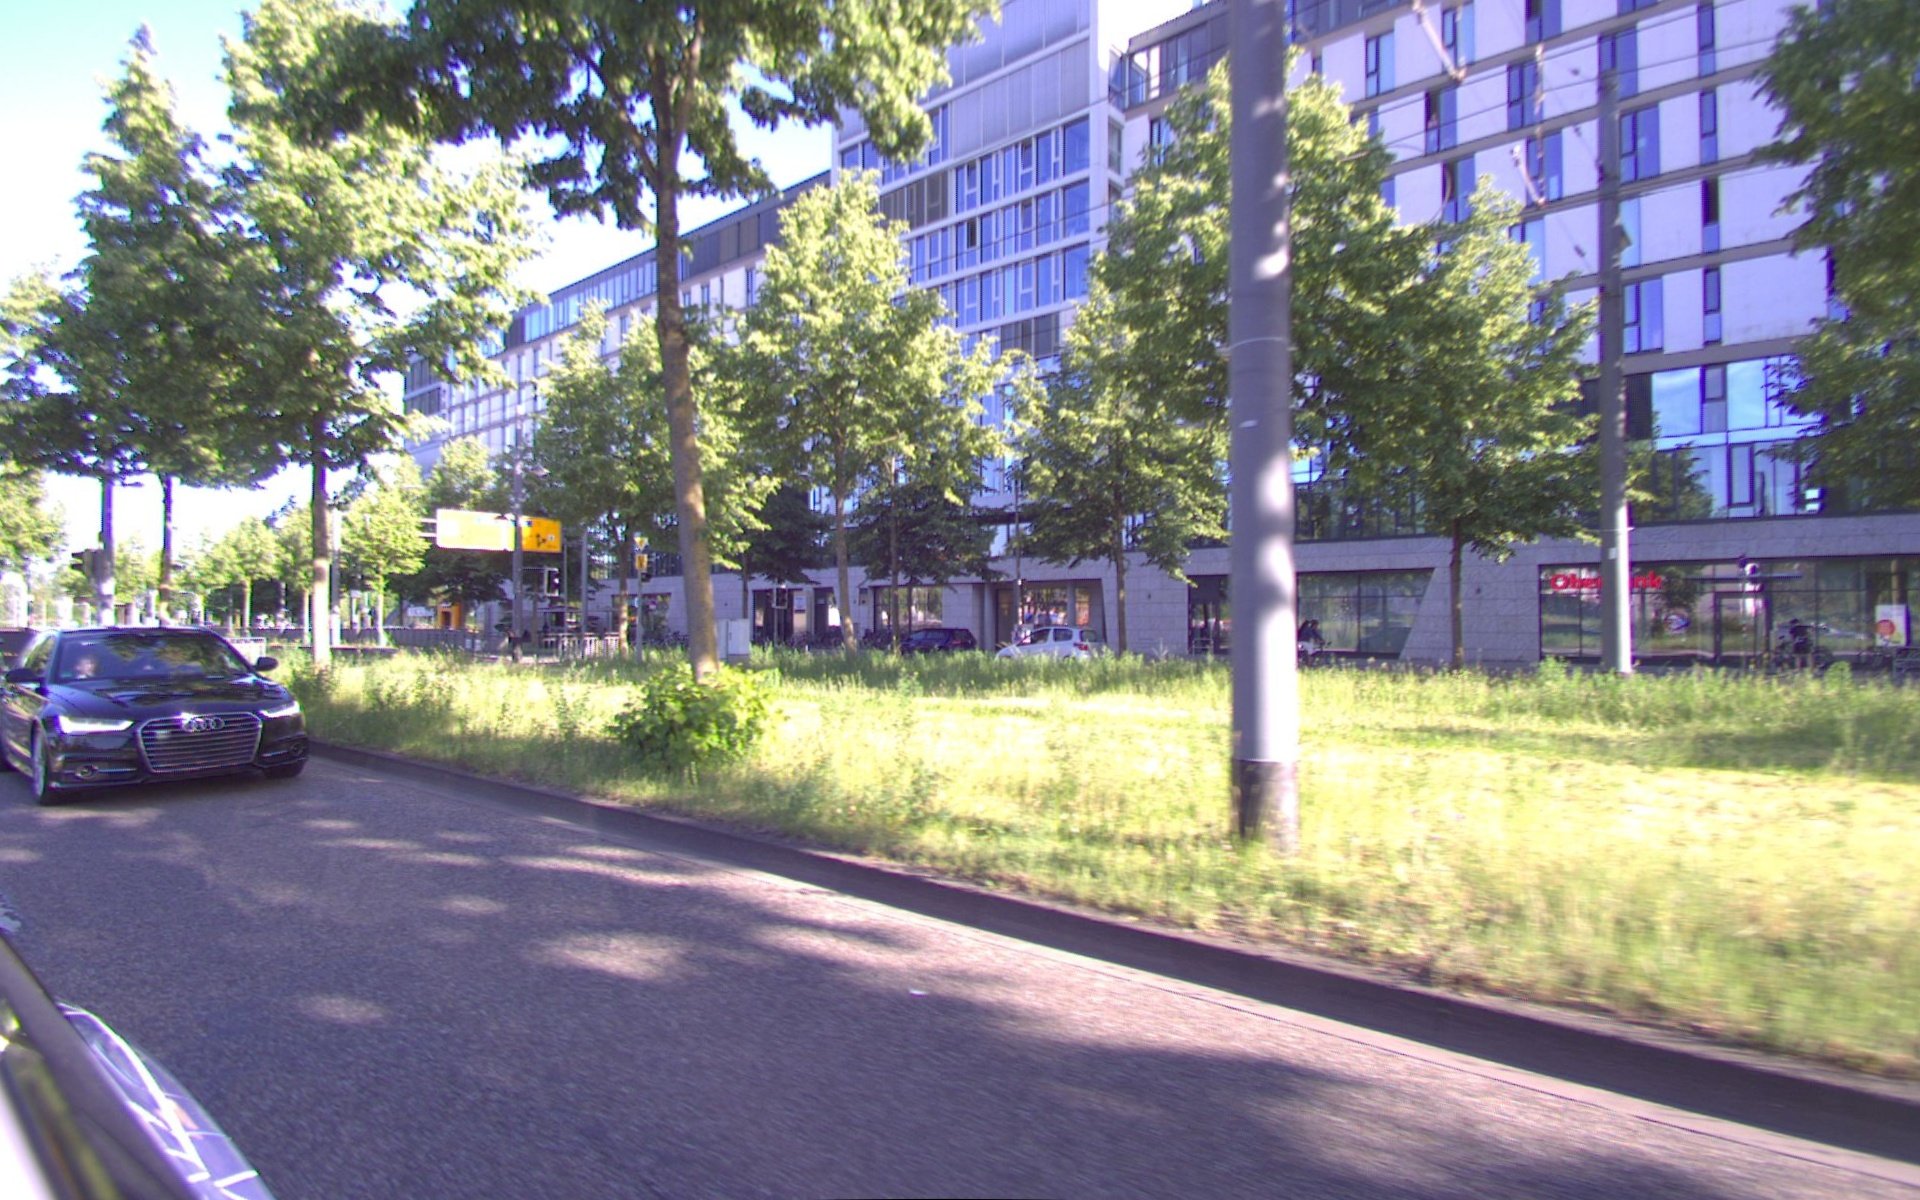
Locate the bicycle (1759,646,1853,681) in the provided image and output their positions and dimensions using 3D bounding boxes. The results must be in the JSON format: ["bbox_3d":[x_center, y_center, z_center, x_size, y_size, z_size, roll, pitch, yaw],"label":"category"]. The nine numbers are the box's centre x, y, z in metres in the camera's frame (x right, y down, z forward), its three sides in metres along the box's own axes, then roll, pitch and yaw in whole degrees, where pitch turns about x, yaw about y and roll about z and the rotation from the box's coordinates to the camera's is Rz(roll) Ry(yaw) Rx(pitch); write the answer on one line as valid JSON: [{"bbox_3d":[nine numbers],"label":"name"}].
[{"bbox_3d":[23.818,1.779,28.526,2.014,0.888,0.536,-1,-1,41],"label":"bicycle"}]

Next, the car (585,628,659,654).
[{"bbox_3d":[-18.887,2.266,56.432,4.543,1.431,1.938,-2,-2,41],"label":"car"}]

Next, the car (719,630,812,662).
[{"bbox_3d":[-9.210,2.153,47.813,4.543,1.431,1.978,-2,-2,42],"label":"car"}]

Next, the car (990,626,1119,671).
[{"bbox_3d":[2.796,1.419,30.288,3.483,1.247,1.750,-2,-2,41],"label":"car"}]

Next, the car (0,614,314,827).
[{"bbox_3d":[-7.911,0.947,9.630,4.599,1.538,1.765,-2,-1,41],"label":"car"}]

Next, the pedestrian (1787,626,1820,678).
[{"bbox_3d":[23.492,1.442,28.178,0.690,1.423,0.403,0,-1,41],"label":"pedestrian"}]

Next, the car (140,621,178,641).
[{"bbox_3d":[-73.719,2.854,93.140,4.225,1.763,1.973,-2,-3,41],"label":"car"}]

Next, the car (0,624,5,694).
[{"bbox_3d":[-24.005,1.361,23.759,4.525,1.581,1.825,-2,-2,41],"label":"car"}]

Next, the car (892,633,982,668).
[{"bbox_3d":[-0.955,2.018,40.798,3.464,1.244,1.633,0,-1,41],"label":"car"}]

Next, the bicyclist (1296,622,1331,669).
[{"bbox_3d":[11.352,1.445,32.516,0.832,1.475,0.712,-2,-2,43],"label":"bicyclist"}]

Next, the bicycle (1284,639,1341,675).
[{"bbox_3d":[11.317,1.809,32.547,1.571,1.128,0.724,-2,-2,43],"label":"bicycle"}]
